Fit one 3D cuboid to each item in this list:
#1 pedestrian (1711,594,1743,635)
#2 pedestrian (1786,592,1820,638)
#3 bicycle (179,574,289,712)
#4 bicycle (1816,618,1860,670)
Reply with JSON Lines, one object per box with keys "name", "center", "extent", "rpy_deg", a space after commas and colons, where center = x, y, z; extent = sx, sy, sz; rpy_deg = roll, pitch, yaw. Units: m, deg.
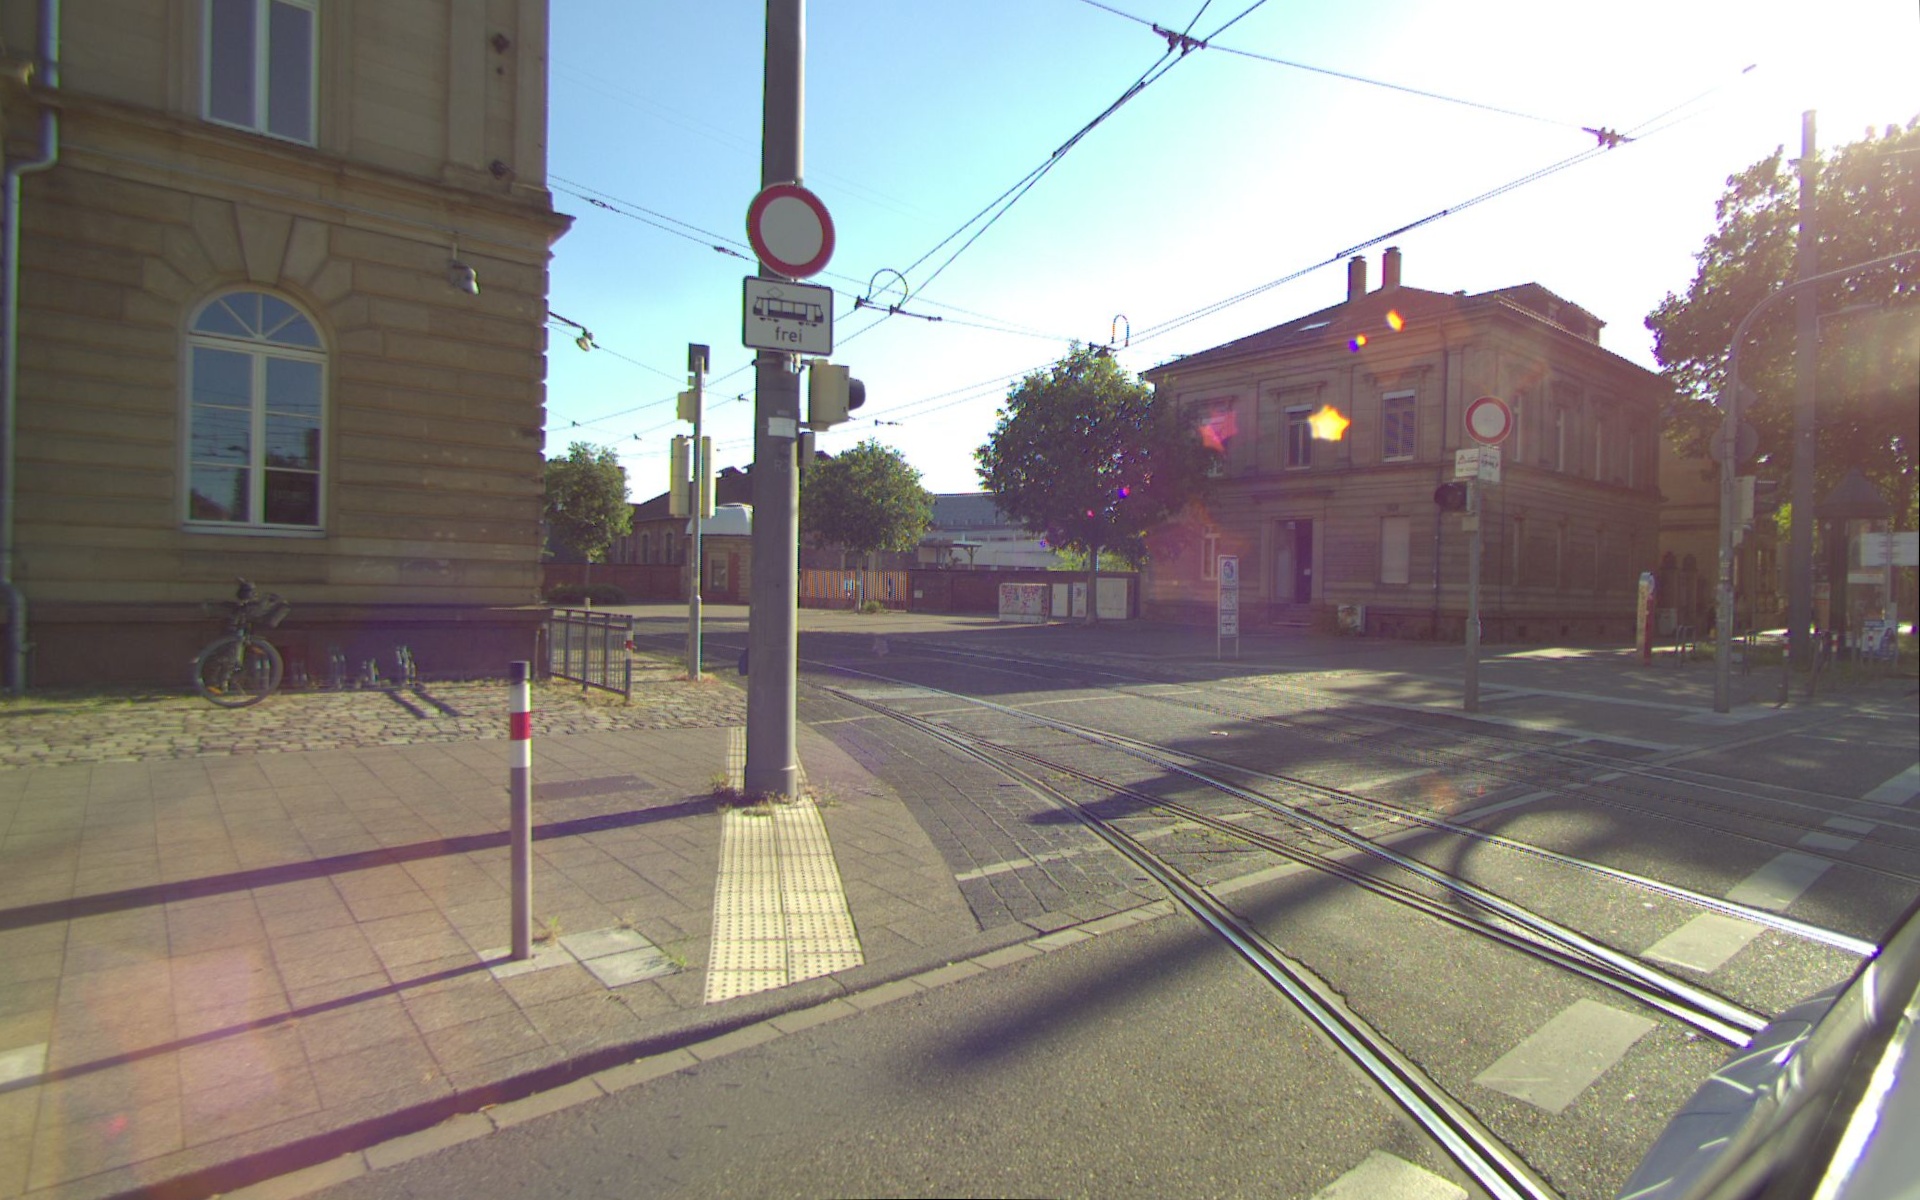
{"name": "pedestrian", "center": [31.178, 0.585, 41.141], "extent": [0.968, 1.626, 0.771], "rpy_deg": [0, 1, -37]}
{"name": "pedestrian", "center": [32.505, 0.574, 39.020], "extent": [1.023, 1.731, 0.771], "rpy_deg": [0, 1, -37]}
{"name": "bicycle", "center": [-7.474, 0.378, 10.371], "extent": [0.752, 1.224, 2.141], "rpy_deg": [1, 2, -40]}
{"name": "bicycle", "center": [19.454, 0.957, 22.402], "extent": [1.741, 1.075, 0.540], "rpy_deg": [0, 1, -43]}
